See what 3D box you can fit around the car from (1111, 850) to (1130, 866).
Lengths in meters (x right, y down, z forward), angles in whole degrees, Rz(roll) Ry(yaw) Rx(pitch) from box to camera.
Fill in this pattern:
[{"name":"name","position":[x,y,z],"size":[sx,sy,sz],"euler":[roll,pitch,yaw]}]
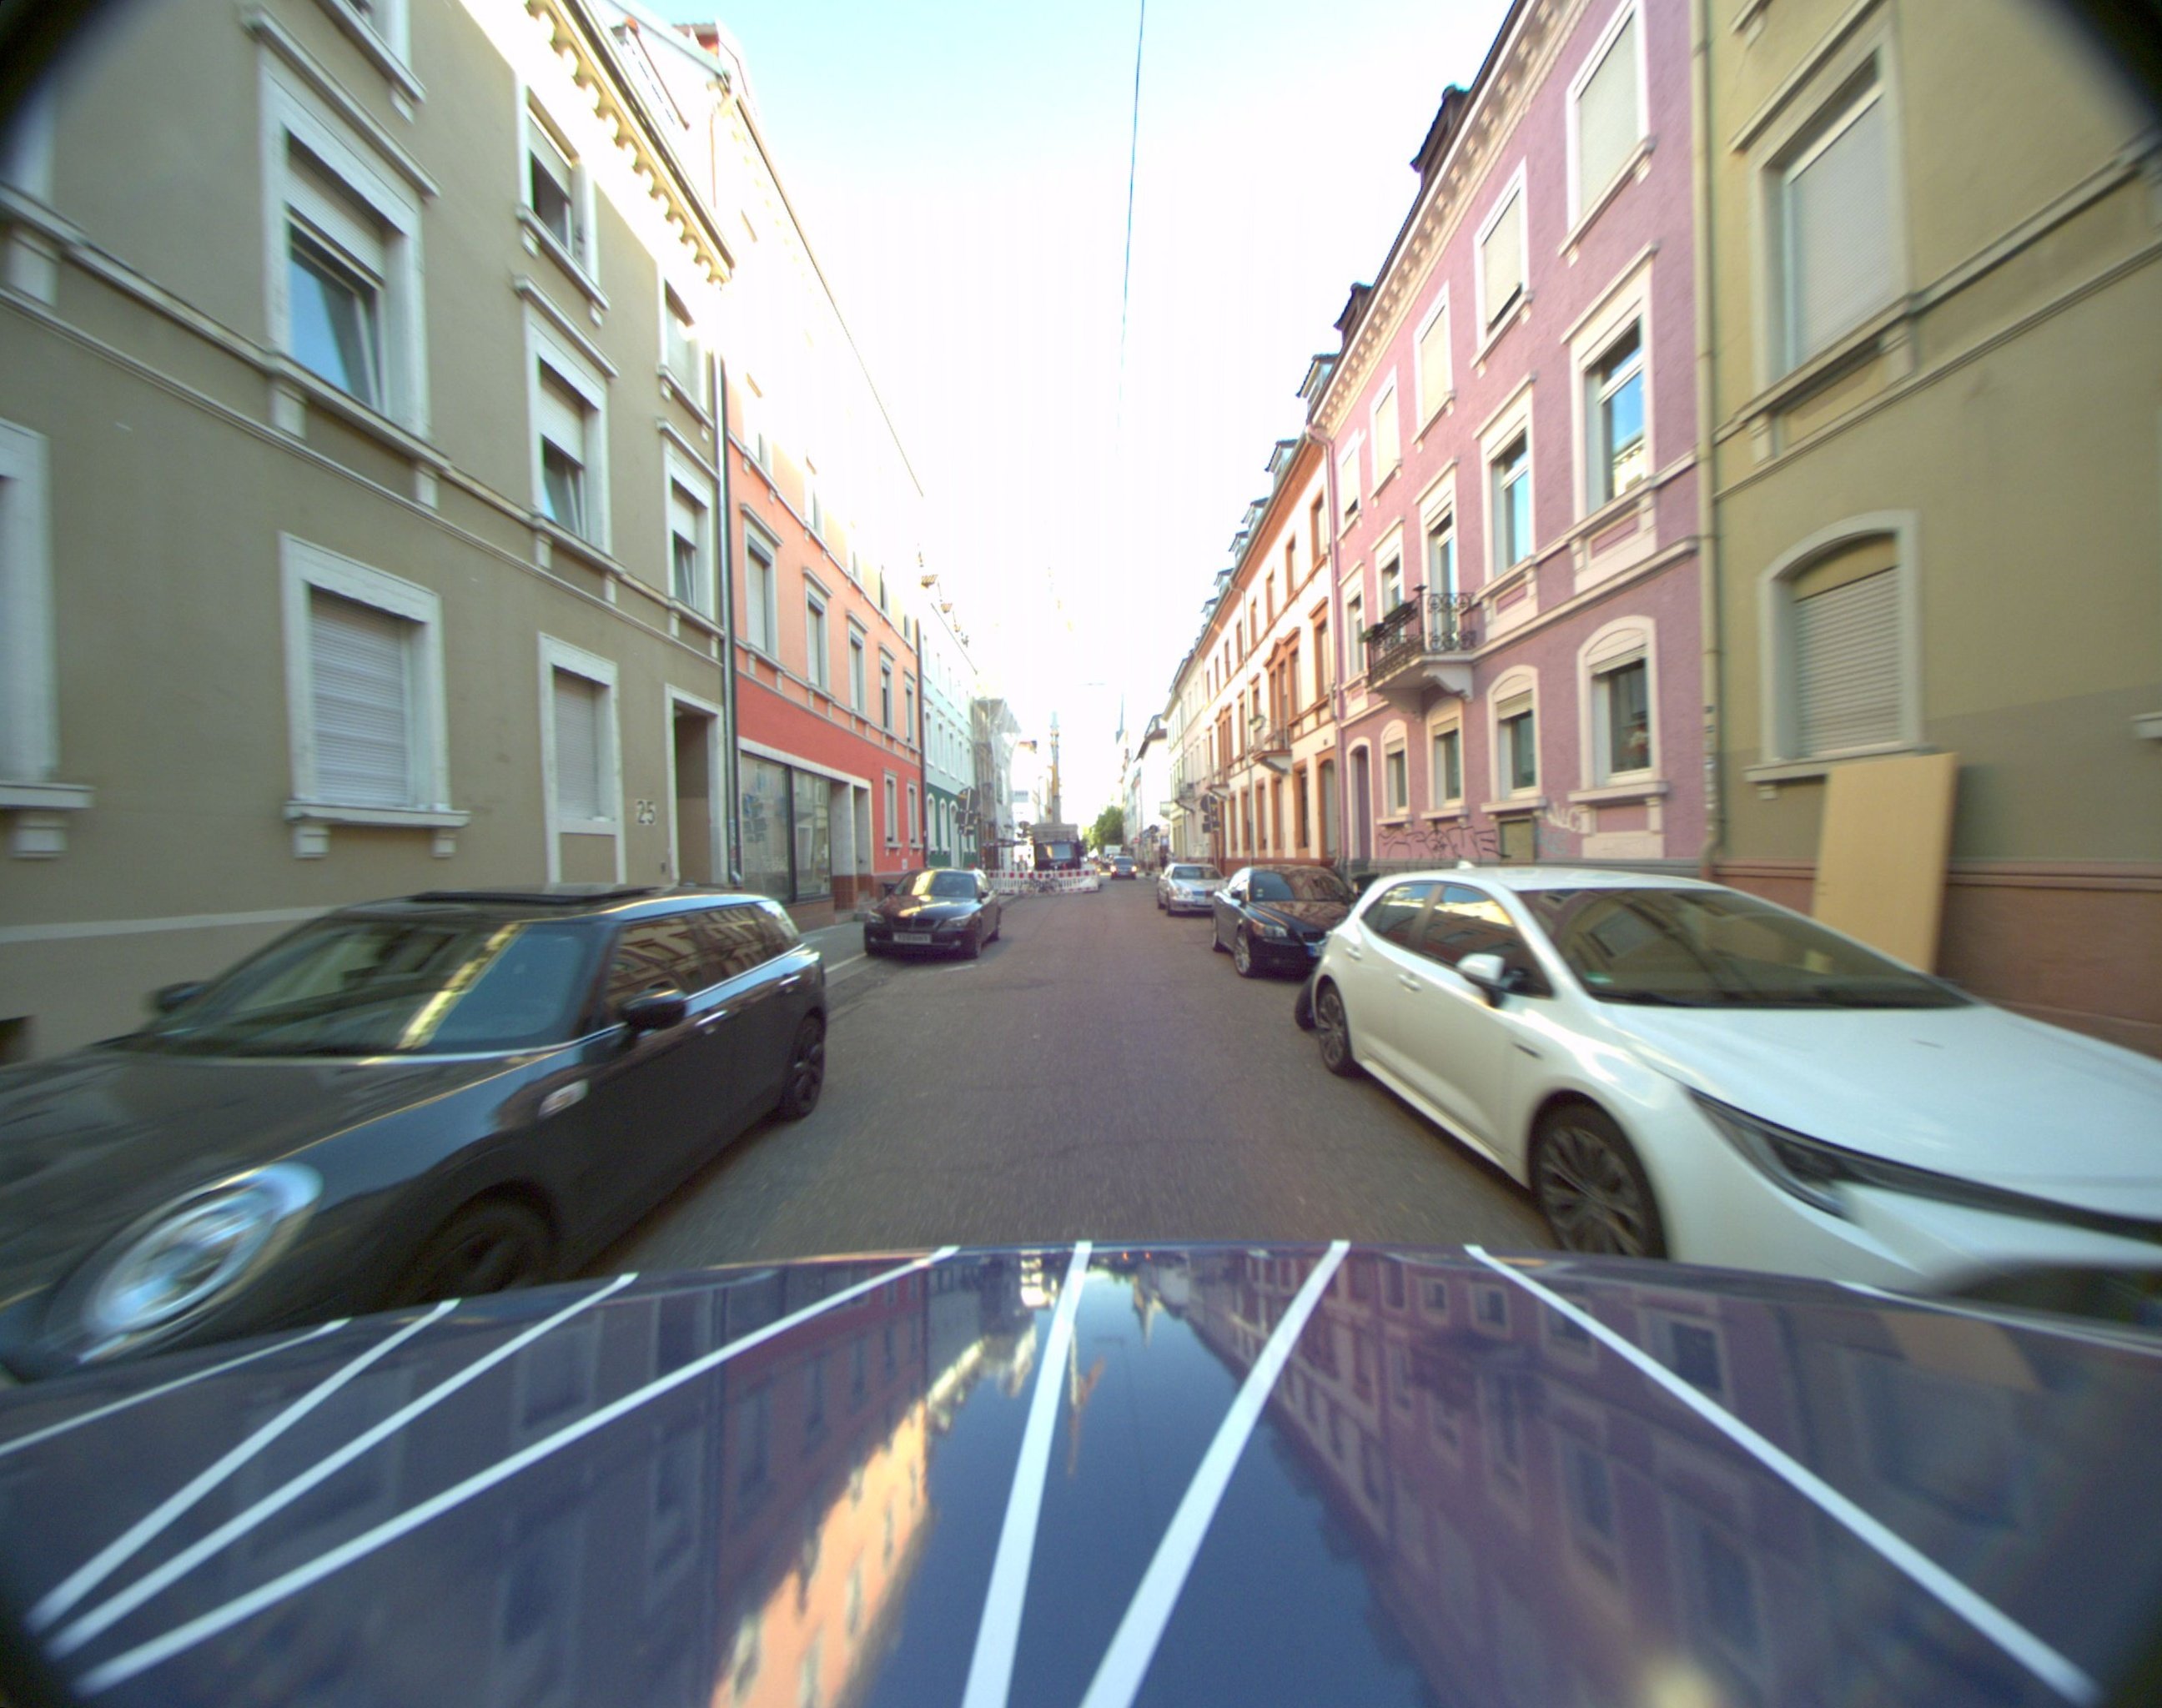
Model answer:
[{"name":"car","position":[4.678,0.464,91.471],"size":[1.998,1.820,4.379],"euler":[-3,0,0]}]

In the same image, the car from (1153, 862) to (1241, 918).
[{"name":"car","position":[3.090,0.914,21.050],"size":[1.771,1.335,4.380],"euler":[0,0,0]}]

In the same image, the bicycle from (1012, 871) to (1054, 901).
[{"name":"bicycle","position":[-2.045,1.345,32.317],"size":[1.712,1.130,0.470],"euler":[-3,1,-10]}]

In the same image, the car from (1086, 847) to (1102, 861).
[{"name":"car","position":[1.724,-0.024,100.611],"size":[1.998,1.749,4.255],"euler":[-3,0,0]}]

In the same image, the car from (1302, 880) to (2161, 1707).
[{"name":"car","position":[2.551,0.933,3.551],"size":[1.792,1.454,4.200],"euler":[-1,0,0]}]

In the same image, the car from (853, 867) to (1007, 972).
[{"name":"car","position":[-2.495,1.028,13.708],"size":[1.831,1.474,4.464],"euler":[-1,0,1]}]

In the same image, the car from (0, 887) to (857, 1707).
[{"name":"car","position":[-2.575,1.039,3.358],"size":[1.766,1.513,4.380],"euler":[-3,0,1]}]

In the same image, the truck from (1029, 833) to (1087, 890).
[{"name":"truck","position":[-1.136,0.374,42.635],"size":[2.819,2.735,7.678],"euler":[-3,0,0]}]

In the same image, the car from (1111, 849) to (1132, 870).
[{"name":"car","position":[4.057,0.532,76.118],"size":[1.998,2.002,4.258],"euler":[-1,0,2]}]

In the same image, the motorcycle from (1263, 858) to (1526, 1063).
[{"name":"motorcycle","position":[2.691,0.829,6.541],"size":[1.969,1.470,0.822],"euler":[-4,0,-19]}]

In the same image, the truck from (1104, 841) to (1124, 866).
[{"name":"truck","position":[4.546,-0.103,104.758],"size":[2.524,3.271,6.643],"euler":[-2,0,2]}]

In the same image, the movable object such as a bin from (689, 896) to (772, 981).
[{"name":"movable object such as a bin","position":[-4.834,1.149,10.518],"size":[0.893,1.102,0.641],"euler":[0,0,-10]}]

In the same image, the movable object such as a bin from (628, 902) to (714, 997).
[{"name":"movable object such as a bin","position":[-5.086,1.172,9.459],"size":[0.717,1.102,0.642],"euler":[0,0,1]}]

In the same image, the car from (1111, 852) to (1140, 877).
[{"name":"car","position":[3.077,0.732,53.102],"size":[1.832,1.650,4.213],"euler":[-1,0,1]}]

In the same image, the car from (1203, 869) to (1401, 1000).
[{"name":"car","position":[2.821,0.944,10.679],"size":[1.730,1.382,4.303],"euler":[0,0,3]}]
